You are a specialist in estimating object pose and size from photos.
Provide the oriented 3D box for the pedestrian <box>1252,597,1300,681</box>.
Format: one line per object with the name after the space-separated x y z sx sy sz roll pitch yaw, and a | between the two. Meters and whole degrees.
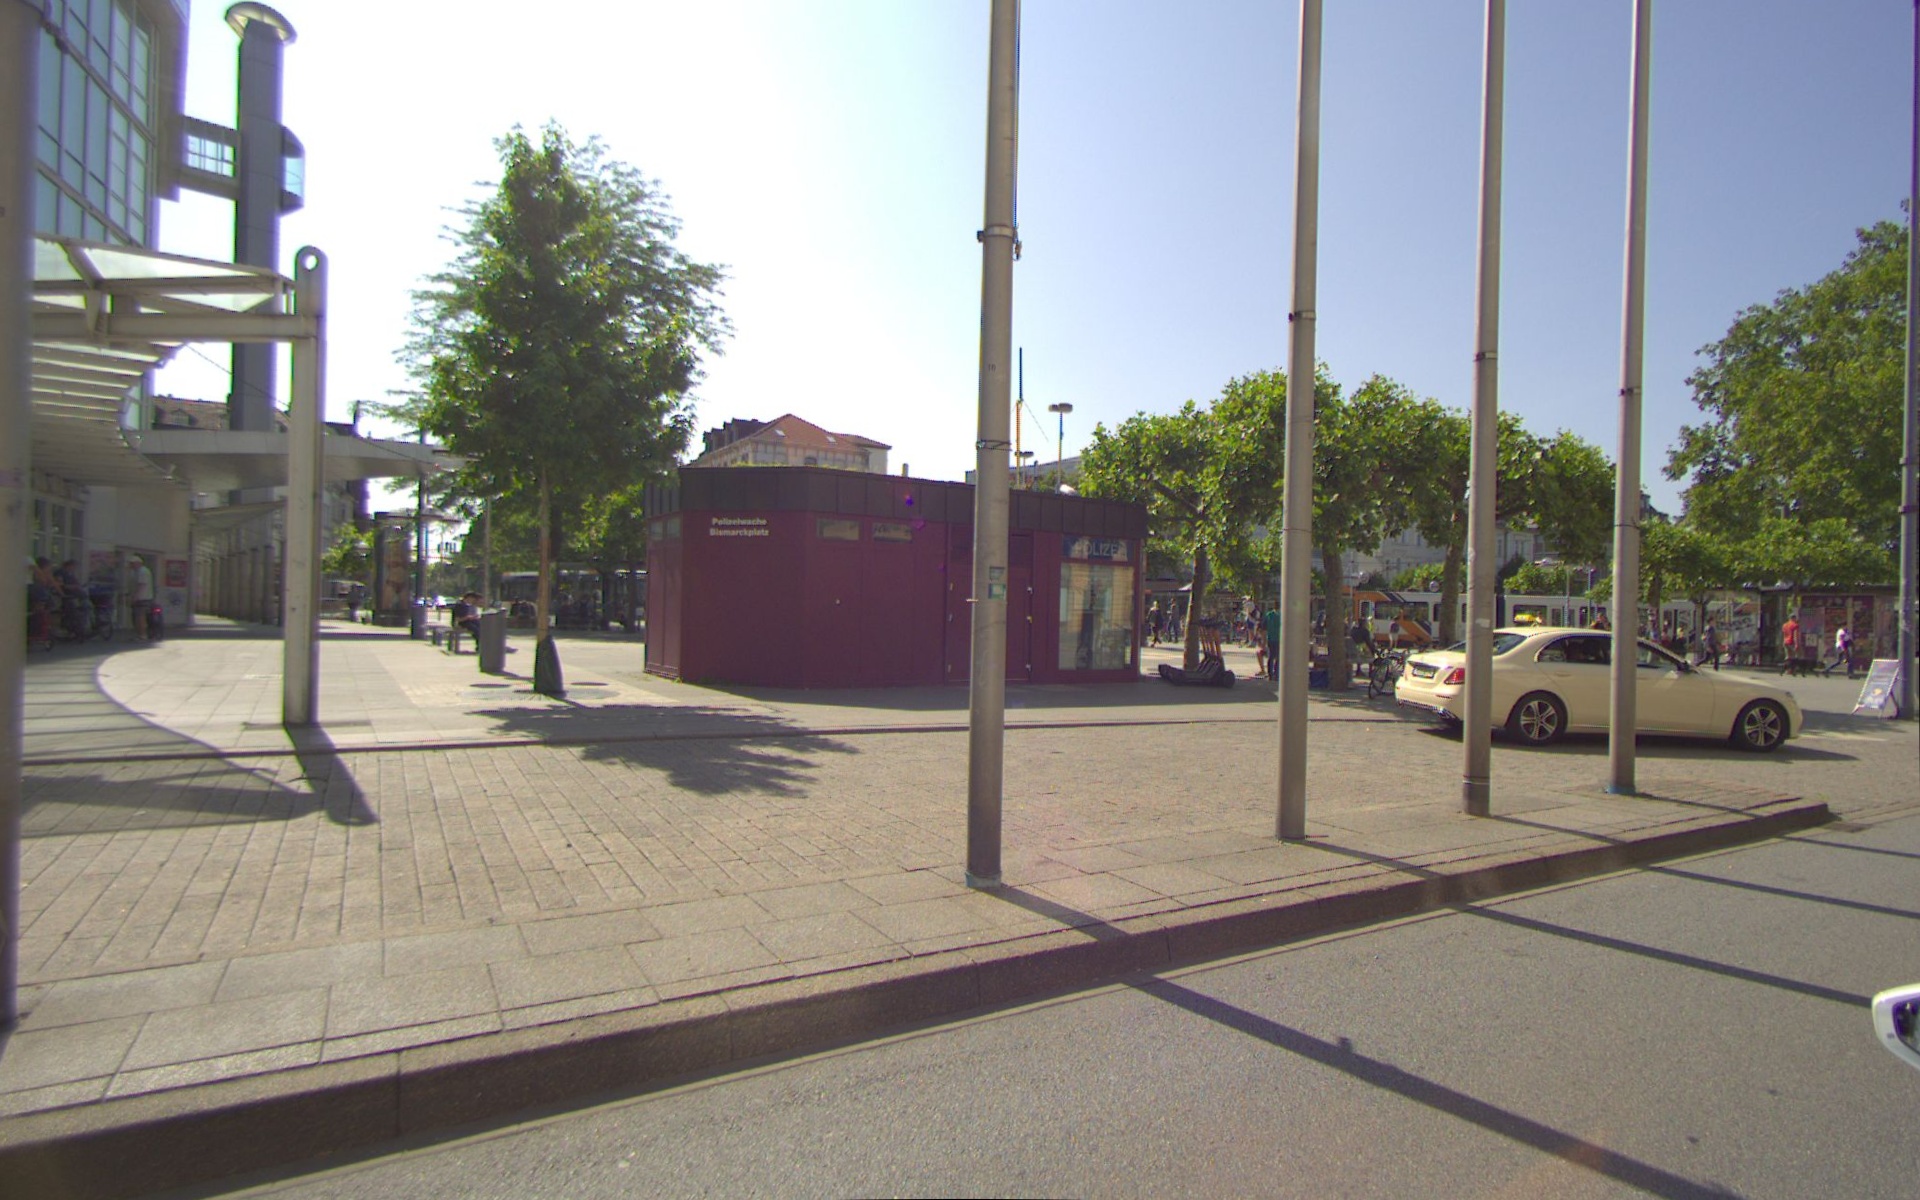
6.612 0.804 21.008 0.681 1.700 0.666 1 0 -38 | pedestrian

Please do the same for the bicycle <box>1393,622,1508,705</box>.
8.607 1.083 17.687 0.556 1.326 1.772 1 0 -32 | bicycle

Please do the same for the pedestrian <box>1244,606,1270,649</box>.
12.416 1.137 41.984 0.600 1.772 0.796 2 1 -35 | pedestrian

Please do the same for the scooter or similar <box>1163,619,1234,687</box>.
4.446 0.993 18.733 1.280 1.230 0.233 1 0 -11 | scooter or similar

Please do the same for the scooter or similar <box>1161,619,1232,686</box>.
4.471 0.996 18.990 1.280 1.230 0.233 1 0 -11 | scooter or similar

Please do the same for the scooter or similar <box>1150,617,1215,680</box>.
4.482 0.979 20.235 1.280 1.230 0.233 1 0 -11 | scooter or similar

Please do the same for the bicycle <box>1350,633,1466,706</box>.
7.555 1.145 17.017 0.556 1.120 1.772 1 0 -32 | bicycle

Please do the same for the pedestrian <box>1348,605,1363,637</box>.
22.124 1.177 56.159 0.594 1.772 0.747 1 0 9 | pedestrian

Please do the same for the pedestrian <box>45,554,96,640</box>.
-18.785 -0.055 21.230 0.772 1.789 0.561 1 0 -40 | pedestrian

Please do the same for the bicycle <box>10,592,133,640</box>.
-18.760 0.346 21.261 1.923 0.979 0.567 1 0 -41 | bicycle

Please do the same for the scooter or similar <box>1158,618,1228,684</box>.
4.462 0.974 19.228 1.280 1.230 0.233 1 0 -11 | scooter or similar

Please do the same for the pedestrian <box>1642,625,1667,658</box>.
26.910 1.602 38.927 0.600 1.279 0.611 1 0 16 | pedestrian

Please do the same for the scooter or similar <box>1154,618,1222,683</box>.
4.417 0.980 19.467 1.280 1.230 0.233 1 0 -11 | scooter or similar

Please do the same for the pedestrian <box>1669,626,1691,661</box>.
26.610 1.604 37.131 0.602 1.279 0.610 1 0 38 | pedestrian

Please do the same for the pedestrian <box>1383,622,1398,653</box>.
24.525 2.130 57.229 0.594 1.772 0.804 1 0 9 | pedestrian

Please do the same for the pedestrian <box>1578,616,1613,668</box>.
22.532 1.483 35.631 0.788 1.772 0.606 2 1 2 | pedestrian

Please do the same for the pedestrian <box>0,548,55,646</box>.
-17.353 -0.054 18.658 0.645 1.789 0.771 1 0 -33 | pedestrian

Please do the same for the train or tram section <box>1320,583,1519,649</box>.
28.061 0.962 61.763 10.779 3.725 2.623 1 0 5 | train or tram section

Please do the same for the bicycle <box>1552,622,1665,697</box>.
13.315 1.194 20.664 0.733 1.366 1.771 1 1 -32 | bicycle

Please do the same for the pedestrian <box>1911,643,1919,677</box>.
37.582 2.325 38.982 0.717 1.310 0.634 2 0 -9 | pedestrian

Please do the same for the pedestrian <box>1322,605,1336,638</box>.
20.428 1.190 55.609 0.594 1.772 0.747 1 0 9 | pedestrian

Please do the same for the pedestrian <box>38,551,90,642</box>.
-18.058 -0.075 20.259 0.645 1.789 0.771 1 0 -33 | pedestrian

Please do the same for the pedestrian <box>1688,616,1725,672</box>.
21.166 1.236 28.477 0.598 1.553 0.574 2 1 -24 | pedestrian

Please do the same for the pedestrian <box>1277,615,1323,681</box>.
7.168 0.997 21.184 0.663 1.326 0.683 2 0 43 | pedestrian

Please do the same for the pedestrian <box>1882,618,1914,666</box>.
36.727 1.642 39.346 0.604 1.833 0.634 2 -4 -10 | pedestrian

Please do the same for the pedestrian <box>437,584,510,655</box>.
-10.065 0.398 20.775 1.295 1.404 0.850 1 0 -30 | pedestrian

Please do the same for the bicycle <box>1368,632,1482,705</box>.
8.066 1.161 17.498 0.556 1.147 1.772 1 0 -32 | bicycle

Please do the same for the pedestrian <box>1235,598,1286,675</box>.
6.508 0.776 21.777 0.668 1.627 0.795 1 0 -43 | pedestrian

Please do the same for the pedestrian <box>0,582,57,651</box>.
-16.219 0.284 17.450 0.645 1.162 0.771 1 0 -33 | pedestrian

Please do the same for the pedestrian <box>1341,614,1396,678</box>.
9.150 1.021 22.515 0.884 1.400 0.670 1 0 -21 | pedestrian

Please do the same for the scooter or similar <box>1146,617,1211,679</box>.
4.455 0.981 20.492 1.280 1.230 0.264 1 0 -11 | scooter or similar

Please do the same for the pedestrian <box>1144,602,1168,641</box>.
8.545 0.936 43.768 0.600 1.688 0.796 2 1 -35 | pedestrian

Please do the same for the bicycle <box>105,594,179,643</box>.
-17.515 0.366 21.567 0.643 0.979 2.419 1 0 -25 | bicycle

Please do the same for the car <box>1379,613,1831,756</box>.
8.330 1.053 13.263 4.767 1.562 1.896 2 0 -3 | car

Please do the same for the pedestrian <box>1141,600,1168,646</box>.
7.786 0.925 40.264 0.600 1.772 0.796 2 1 -35 | pedestrian

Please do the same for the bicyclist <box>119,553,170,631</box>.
-17.525 -0.168 21.600 0.642 1.631 0.842 1 0 -25 | bicyclist

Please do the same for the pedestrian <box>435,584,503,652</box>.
-10.516 0.380 21.510 1.245 1.404 0.850 1 0 -30 | pedestrian

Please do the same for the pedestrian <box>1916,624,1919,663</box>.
36.967 1.669 38.137 0.717 1.498 0.634 2 0 -9 | pedestrian

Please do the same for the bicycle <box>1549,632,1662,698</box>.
12.844 1.264 20.036 0.656 1.201 1.772 1 0 -32 | bicycle

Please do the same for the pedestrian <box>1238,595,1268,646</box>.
10.762 0.763 36.895 0.600 1.822 0.795 2 1 -36 | pedestrian

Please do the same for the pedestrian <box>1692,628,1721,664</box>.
27.166 1.654 36.547 0.599 1.279 0.613 1 0 6 | pedestrian

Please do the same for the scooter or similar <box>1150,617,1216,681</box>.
4.438 0.971 19.982 1.280 1.230 0.233 1 0 -11 | scooter or similar

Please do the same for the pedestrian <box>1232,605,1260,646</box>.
11.260 0.992 39.521 0.600 1.582 0.796 2 1 -35 | pedestrian

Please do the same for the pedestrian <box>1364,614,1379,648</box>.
22.174 1.664 54.124 0.594 1.772 0.747 1 0 9 | pedestrian

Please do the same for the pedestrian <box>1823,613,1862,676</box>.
25.163 1.264 28.647 0.598 1.762 0.574 2 1 -24 | pedestrian

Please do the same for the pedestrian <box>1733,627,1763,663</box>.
28.640 1.622 36.500 0.599 1.279 0.612 1 0 -4 | pedestrian

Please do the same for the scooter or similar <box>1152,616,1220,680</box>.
4.441 0.945 19.720 1.280 1.230 0.233 1 0 -11 | scooter or similar

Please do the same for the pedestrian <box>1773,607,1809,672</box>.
25.144 1.185 30.406 0.651 1.904 0.631 3 1 27 | pedestrian

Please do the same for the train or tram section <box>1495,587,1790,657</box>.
40.837 1.276 60.534 15.233 3.725 2.623 1 0 6 | train or tram section
